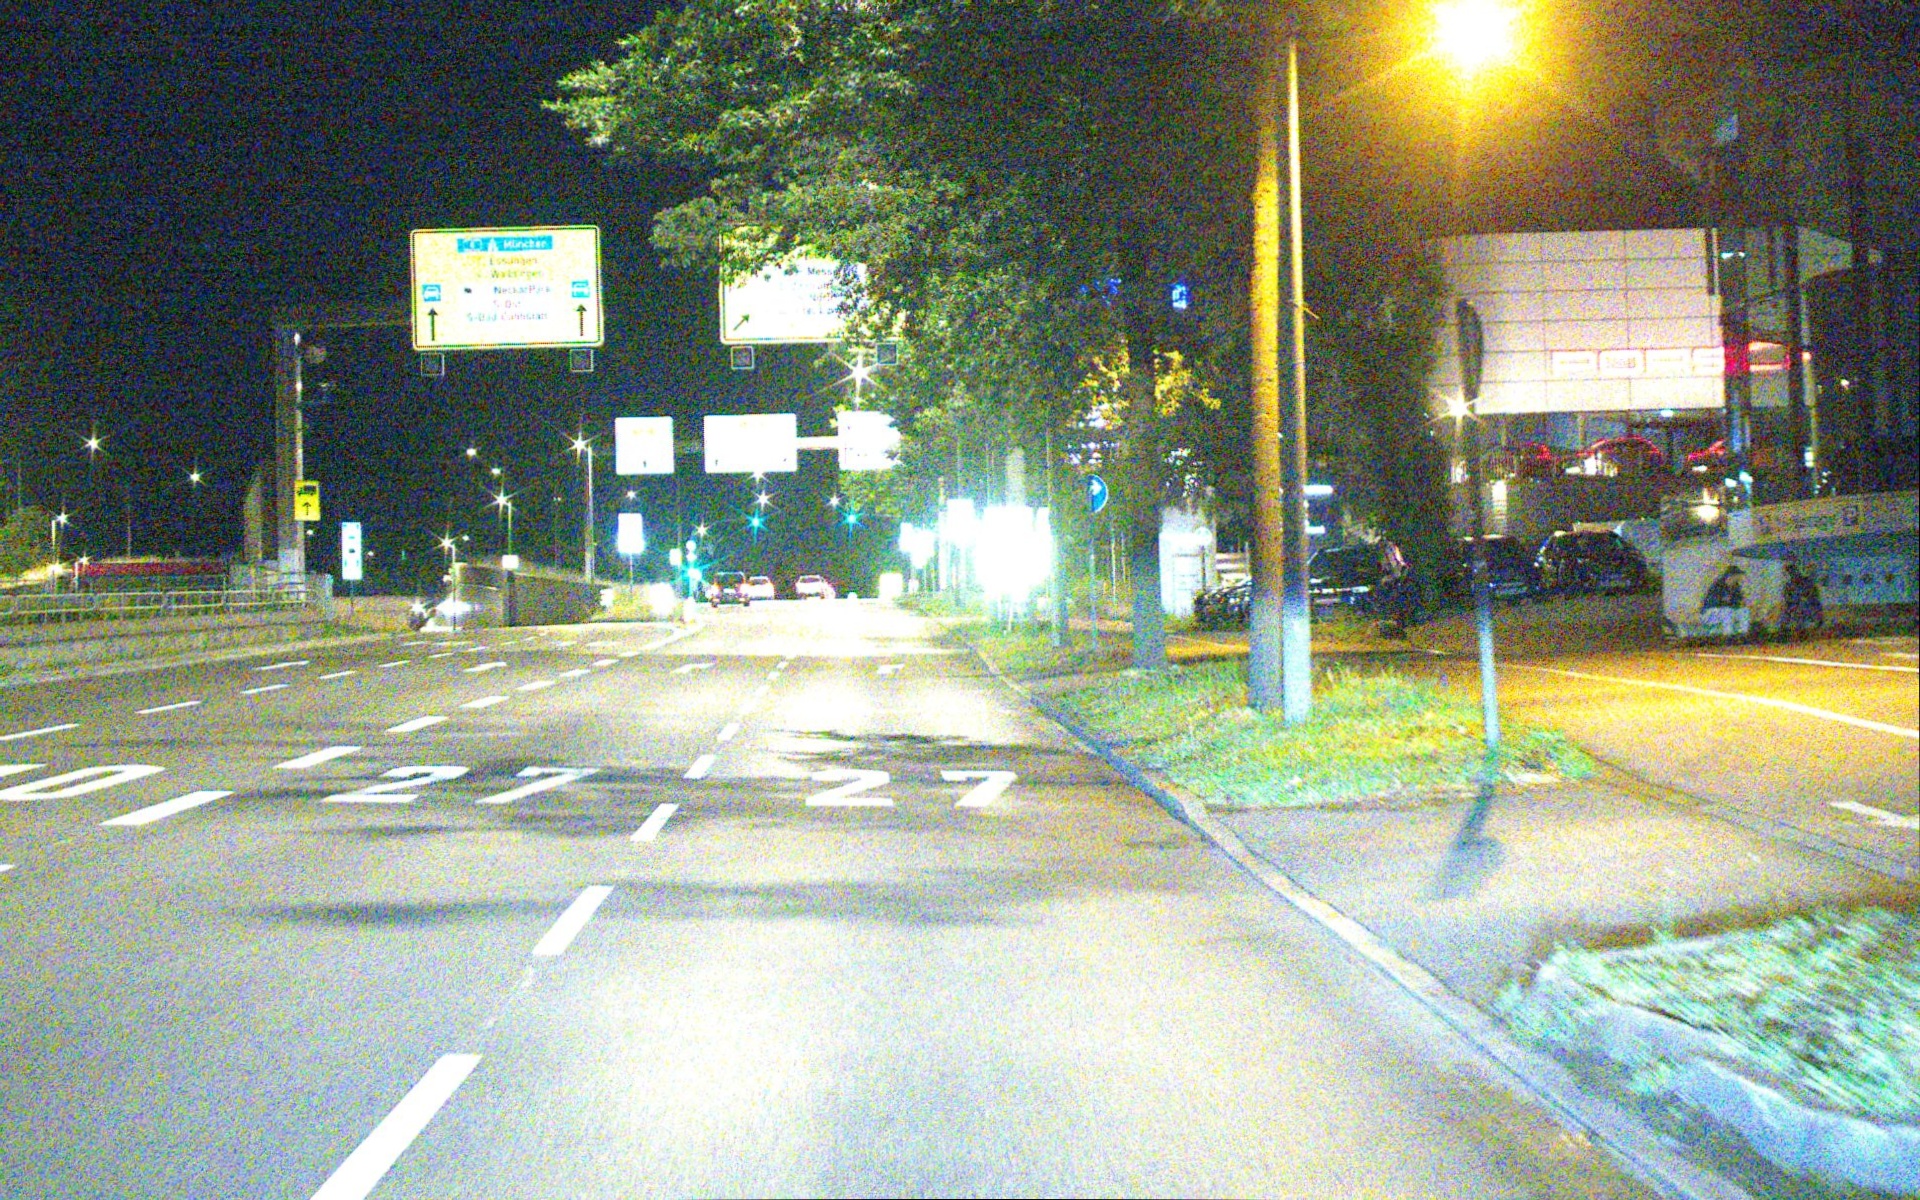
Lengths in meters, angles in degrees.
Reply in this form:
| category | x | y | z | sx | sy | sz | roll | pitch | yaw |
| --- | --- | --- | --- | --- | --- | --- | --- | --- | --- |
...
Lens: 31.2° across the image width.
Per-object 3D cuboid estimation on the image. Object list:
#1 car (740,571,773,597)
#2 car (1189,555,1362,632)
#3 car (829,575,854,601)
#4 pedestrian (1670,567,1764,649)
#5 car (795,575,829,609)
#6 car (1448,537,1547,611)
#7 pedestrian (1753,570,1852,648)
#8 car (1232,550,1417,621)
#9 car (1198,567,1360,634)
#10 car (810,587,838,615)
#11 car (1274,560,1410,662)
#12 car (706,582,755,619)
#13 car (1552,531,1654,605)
| category | x | y | z | sx | sy | sz | roll | pitch | yaw |
| --- | --- | --- | --- | --- | --- | --- | --- | --- | --- |
| car | -13.275 | -1.054 | 224.476 | 1.993 | 1.590 | 4.000 | -1 | -1 | -1 |
| car | 7.784 | -0.147 | 84.965 | 3.986 | 1.850 | 1.822 | 0 | -1 | -5 |
| car | -9.024 | -0.904 | 262.003 | 1.838 | 1.832 | 4.000 | 0 | -1 | -2 |
| pedestrian | 9.876 | 0.107 | 44.855 | 0.913 | 1.035 | 0.770 | -2 | -1 | 42 |
| car | -9.148 | -0.475 | 212.588 | 1.993 | 2.007 | 4.000 | 0 | -1 | -2 |
| car | 11.529 | -0.541 | 73.930 | 1.893 | 1.506 | 3.635 | 0 | -1 | 6 |
| pedestrian | 10.998 | 0.121 | 44.887 | 0.997 | 1.004 | 0.772 | 1 | -1 | -16 |
| car | 7.668 | -0.296 | 72.516 | 3.623 | 1.446 | 1.708 | 0 | -1 | -5 |
| car | 7.433 | 0.018 | 80.232 | 3.510 | 1.503 | 1.736 | 0 | -1 | -5 |
| car | -8.808 | 0.089 | 222.998 | 1.781 | 1.722 | 4.000 | 0 | -1 | -2 |
| car | 7.489 | 0.239 | 67.103 | 1.995 | 1.938 | 3.997 | 0 | -1 | 16 |
| car | -10.856 | 0.029 | 162.574 | 1.968 | 1.705 | 4.000 | 0 | -1 | 1 |
| car | 14.043 | -0.683 | 75.233 | 1.893 | 1.506 | 3.635 | 0 | -1 | 6 |
